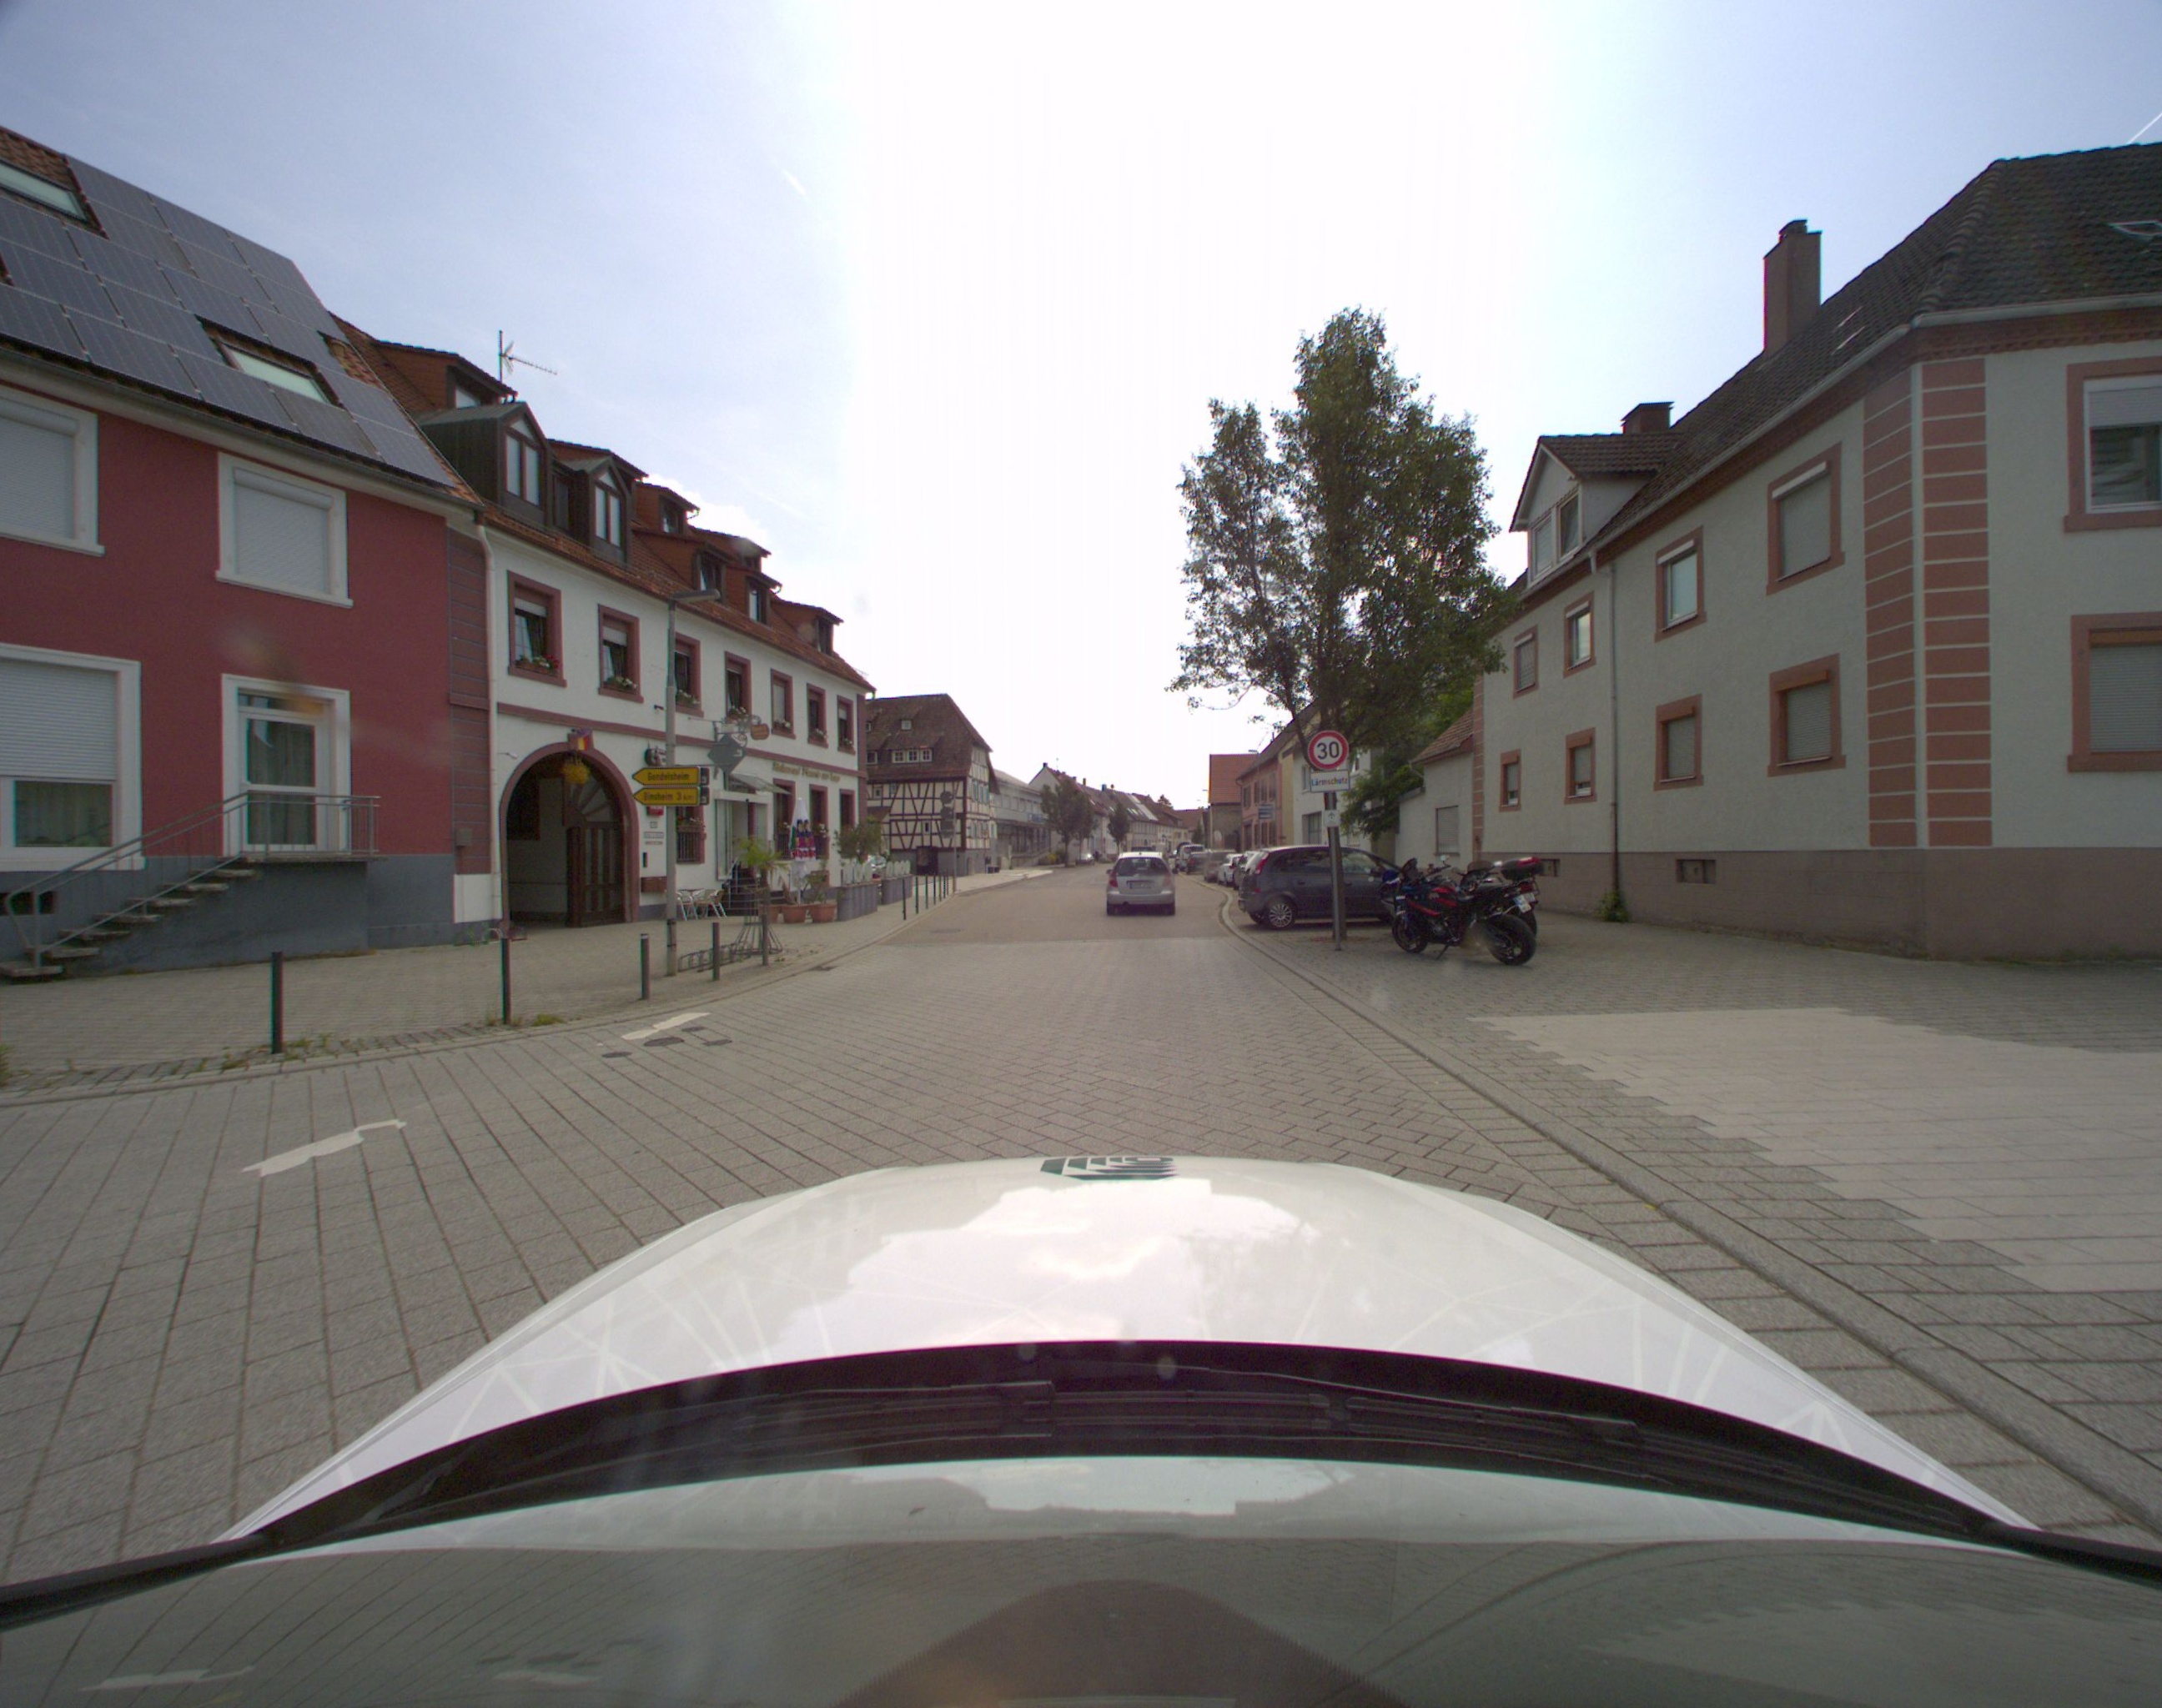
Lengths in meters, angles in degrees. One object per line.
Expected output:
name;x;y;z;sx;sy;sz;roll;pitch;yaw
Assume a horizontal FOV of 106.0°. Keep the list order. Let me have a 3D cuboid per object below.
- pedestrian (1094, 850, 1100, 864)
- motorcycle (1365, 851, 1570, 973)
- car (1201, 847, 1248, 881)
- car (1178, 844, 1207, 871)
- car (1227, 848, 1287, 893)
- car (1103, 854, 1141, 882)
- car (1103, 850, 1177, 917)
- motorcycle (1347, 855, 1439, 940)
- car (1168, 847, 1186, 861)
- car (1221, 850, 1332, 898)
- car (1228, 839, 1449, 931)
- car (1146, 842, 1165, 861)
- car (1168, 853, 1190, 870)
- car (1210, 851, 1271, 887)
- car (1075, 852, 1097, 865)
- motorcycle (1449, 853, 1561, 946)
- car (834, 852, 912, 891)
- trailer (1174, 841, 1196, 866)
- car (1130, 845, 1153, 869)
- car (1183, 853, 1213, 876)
pedestrian;2.090;0.378;106.817;0.735;1.801;0.643;-2;-1;6
motorcycle;4.934;0.684;10.526;0.877;1.394;2.198;-1;0;-43
car;7.430;0.495;42.539;1.984;1.680;4.329;-1;0;5
car;8.708;0.240;63.856;1.883;1.982;4.937;-3;0;5
car;6.876;0.583;32.124;1.655;1.624;4.276;-1;0;3
car;2.233;0.715;43.655;1.936;1.407;4.005;-1;0;4
car;1.564;0.720;22.085;1.761;1.594;4.003;-2;0;3
motorcycle;5.188;0.684;13.714;0.627;1.298;2.181;-2;0;-2
car;11.488;-0.049;97.727;1.984;1.559;4.005;-2;0;4
car;6.673;0.655;27.845;3.241;1.505;1.812;-1;0;-25
car;5.054;0.595;16.399;3.835;1.577;1.851;-3;0;1
car;9.498;-0.307;103.528;2.223;2.222;4.009;-2;-1;8
car;8.839;0.665;73.722;1.866;1.481;4.681;0;0;5
car;7.274;0.632;37.495;1.987;1.517;4.372;-1;0;1
car;0.541;0.471;92.085;1.793;1.460;4.170;0;0;10
motorcycle;6.567;0.657;12.761;0.953;1.298;2.233;-3;0;12
car;-8.969;0.714;35.429;1.749;1.492;4.285;3;1;7
trailer;9.990;-0.039;78.589;1.836;2.354;3.594;-1;0;4
car;5.109;0.264;68.407;1.760;1.888;4.454;2;0;6
car;7.994;0.678;55.887;1.766;1.495;4.167;-1;0;5
